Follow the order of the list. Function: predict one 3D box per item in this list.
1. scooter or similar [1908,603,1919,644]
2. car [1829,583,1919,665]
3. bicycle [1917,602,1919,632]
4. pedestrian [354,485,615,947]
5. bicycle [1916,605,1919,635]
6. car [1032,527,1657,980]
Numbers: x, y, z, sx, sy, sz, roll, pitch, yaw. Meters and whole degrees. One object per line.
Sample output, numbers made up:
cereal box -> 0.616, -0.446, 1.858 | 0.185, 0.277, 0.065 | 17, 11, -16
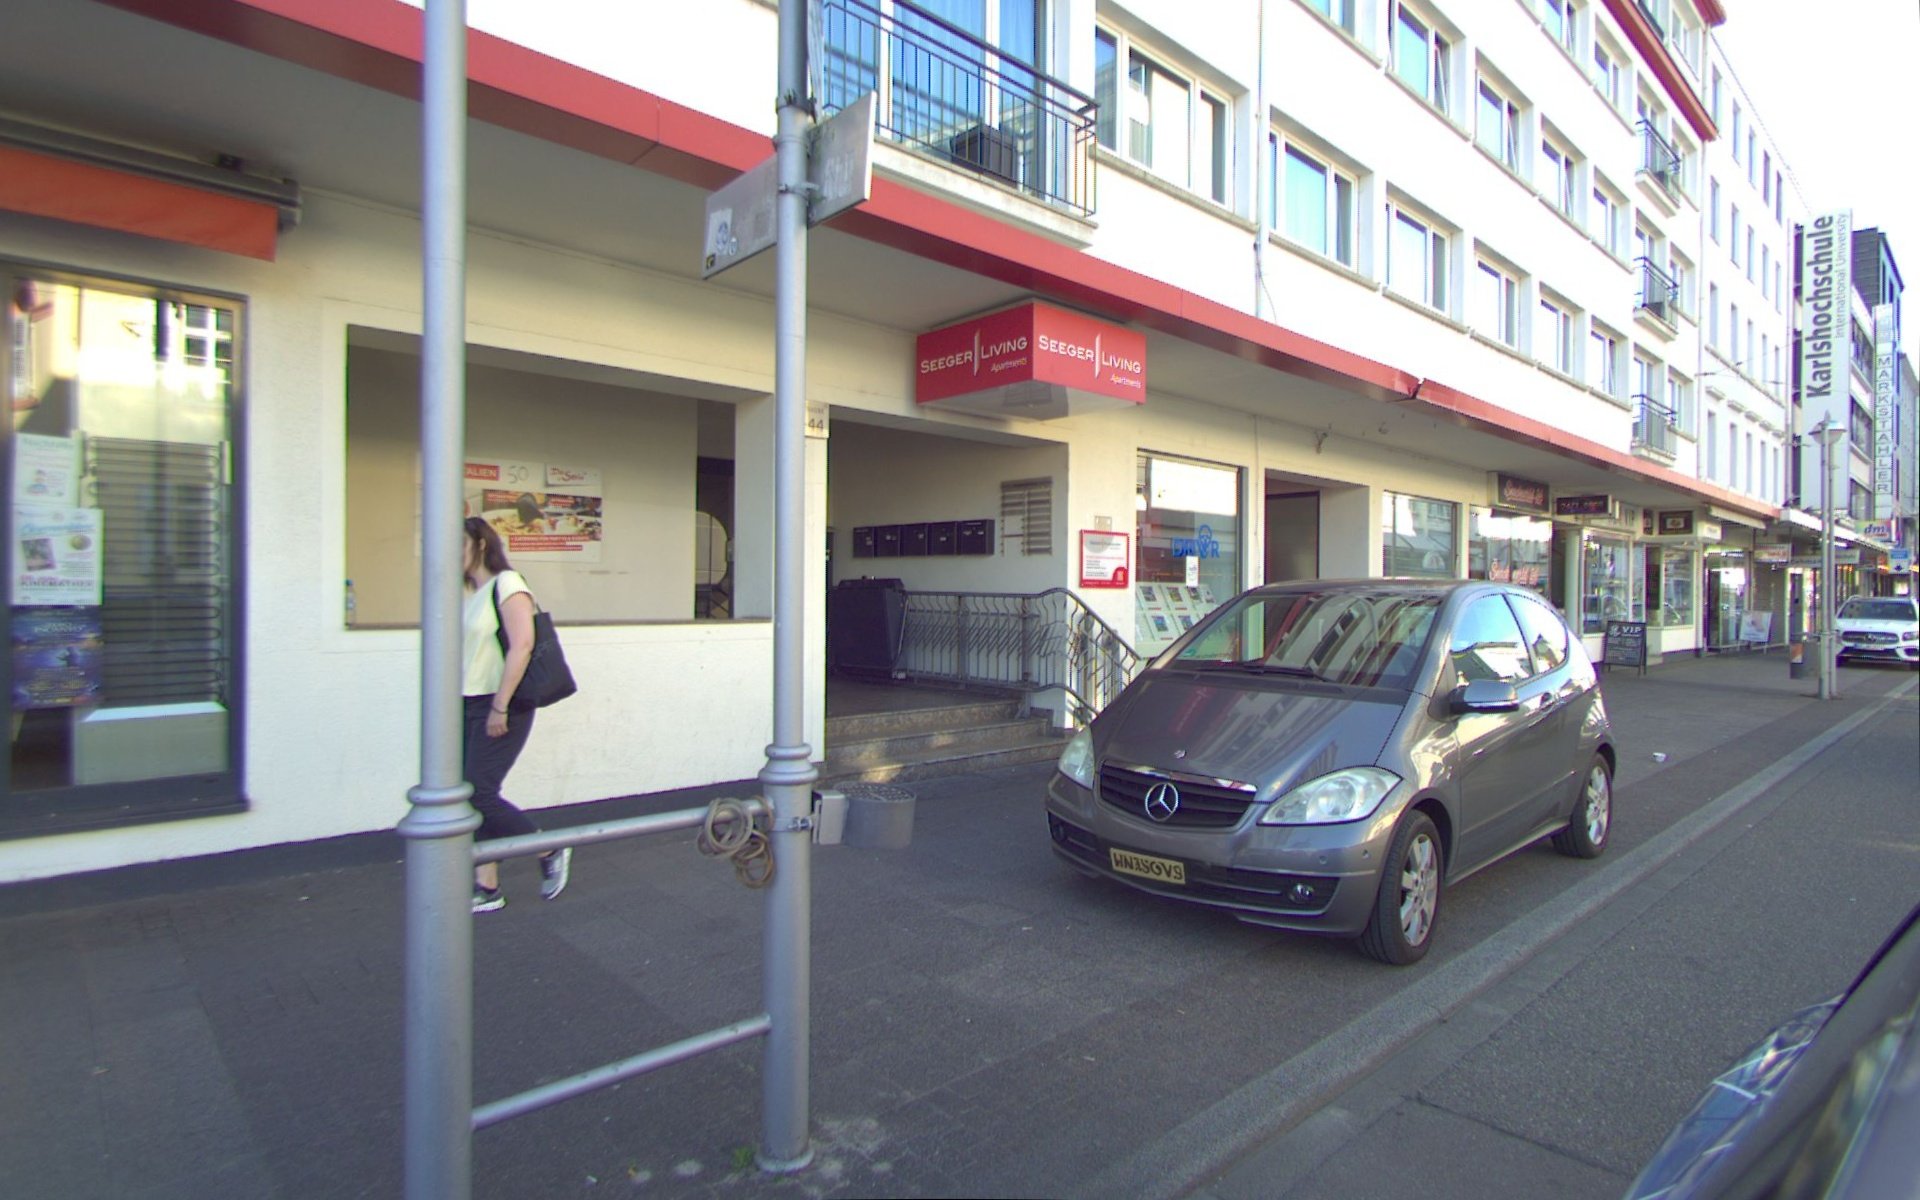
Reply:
scooter or similar -> 29.778, 0.742, 31.031 | 0.314, 1.247, 0.994 | 0, 2, -43
car -> 22.482, 0.494, 24.314 | 5.106, 1.745, 1.852 | -1, 3, -43
bicycle -> 40.430, 0.720, 41.435 | 0.658, 1.232, 1.789 | 0, 1, -43
pedestrian -> -2.137, 0.441, 4.536 | 0.915, 1.797, 0.805 | 0, 0, -37
bicycle -> 39.500, 0.831, 40.465 | 0.658, 1.174, 1.789 | 0, 1, -43
car -> 2.276, 0.537, 5.547 | 3.586, 1.652, 1.748 | 0, 1, -42
